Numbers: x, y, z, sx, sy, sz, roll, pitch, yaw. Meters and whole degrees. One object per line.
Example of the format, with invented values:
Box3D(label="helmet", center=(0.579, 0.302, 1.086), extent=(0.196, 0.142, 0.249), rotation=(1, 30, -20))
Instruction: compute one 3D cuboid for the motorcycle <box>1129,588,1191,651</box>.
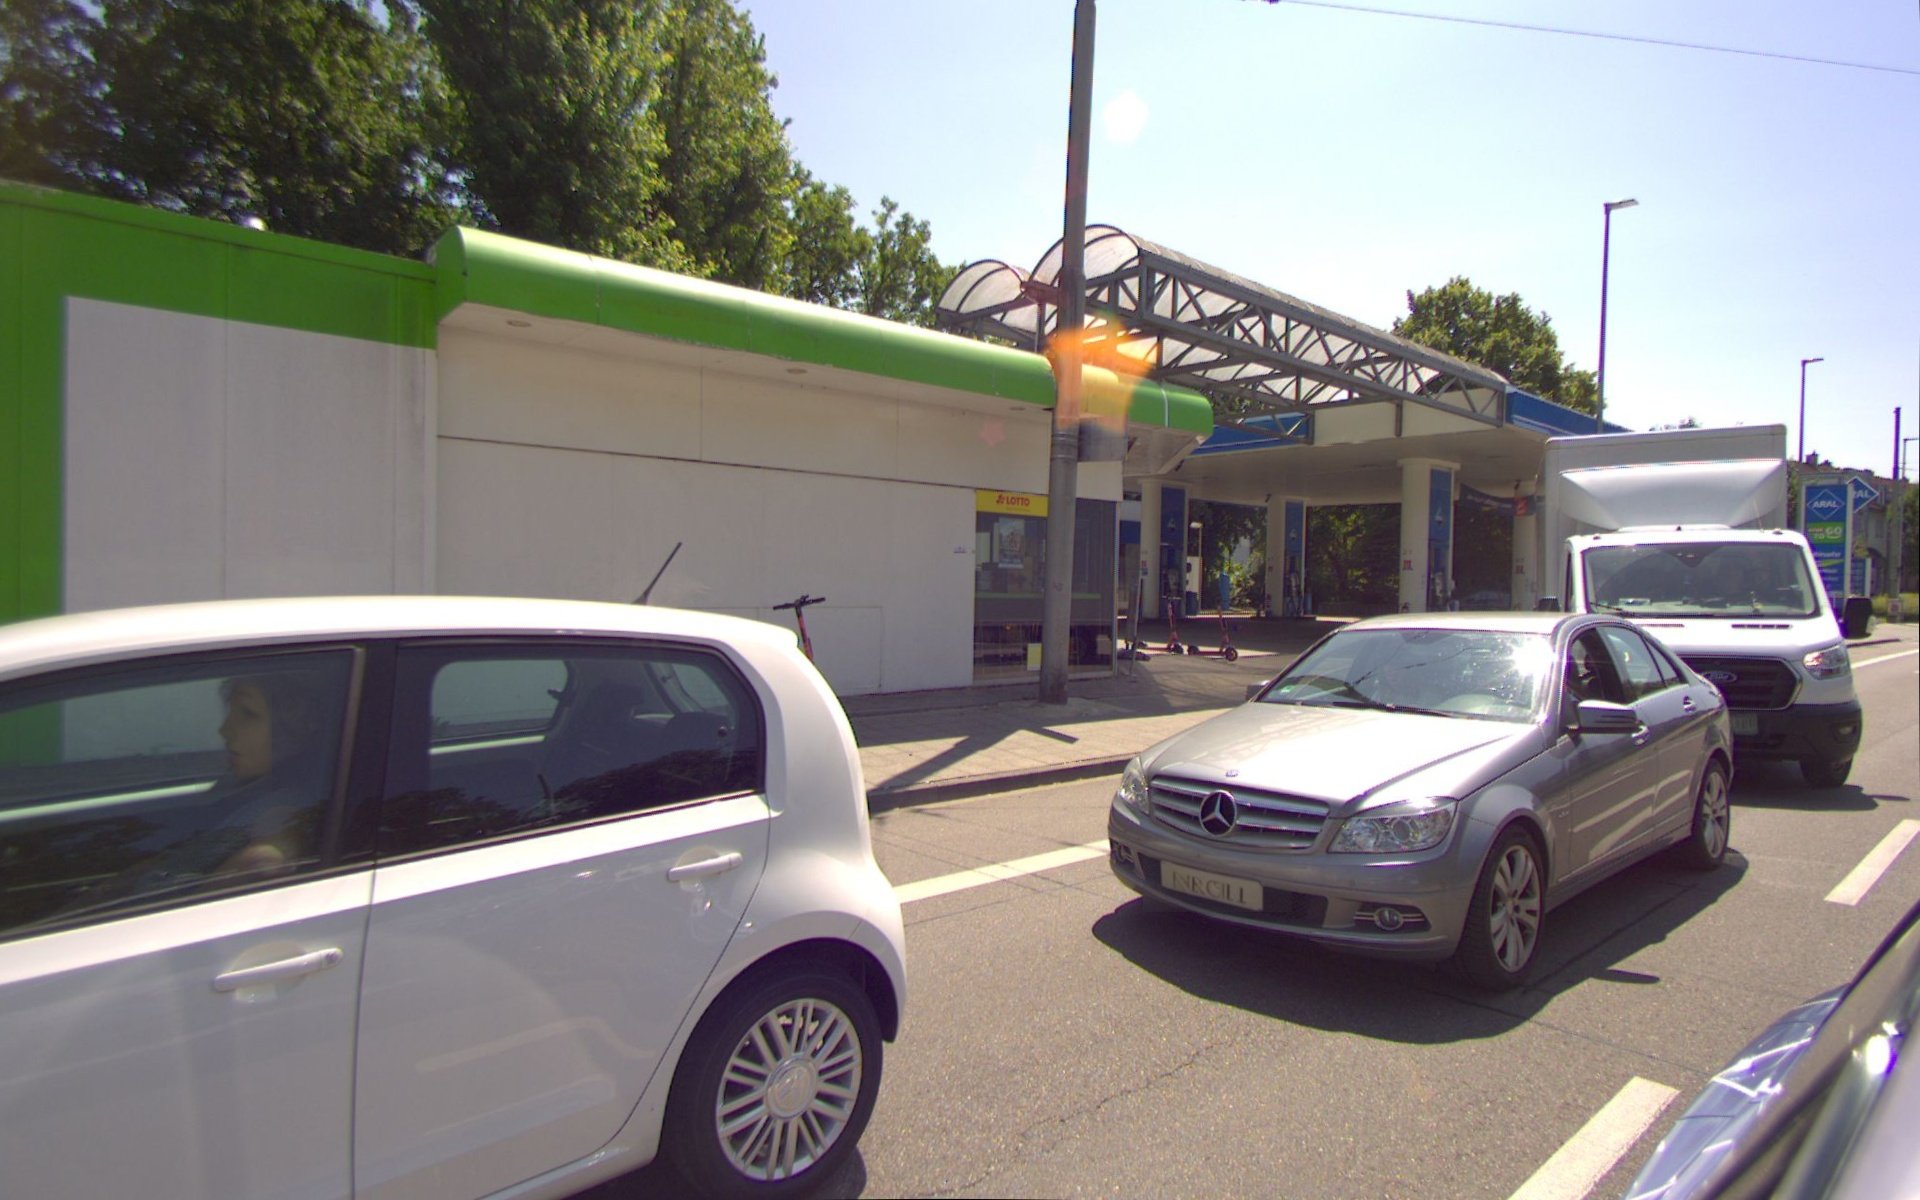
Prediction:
Box3D(label="motorcycle", center=(3.921, 0.370, 19.895), extent=(0.389, 1.127, 1.156), rotation=(2, 2, -41))

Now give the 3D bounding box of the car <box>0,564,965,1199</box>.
Box3D(label="car", center=(-1.788, 0.677, 2.273), extent=(3.374, 1.466, 1.612), rotation=(1, 0, -40))

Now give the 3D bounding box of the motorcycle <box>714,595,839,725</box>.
Box3D(label="motorcycle", center=(-1.676, 0.525, 9.311), extent=(1.098, 1.118, 0.253), rotation=(-1, 7, -40))

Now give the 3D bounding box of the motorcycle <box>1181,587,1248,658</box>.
Box3D(label="motorcycle", center=(4.755, 0.411, 18.942), extent=(0.357, 1.225, 1.156), rotation=(2, 2, -41))

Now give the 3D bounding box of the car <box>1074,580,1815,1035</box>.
Box3D(label="car", center=(3.069, 0.700, 5.659), extent=(5.206, 1.492, 1.716), rotation=(0, -1, -40))

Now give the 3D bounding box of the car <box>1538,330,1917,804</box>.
Box3D(label="car", center=(7.913, -0.255, 11.496), extent=(2.211, 3.378, 8.546), rotation=(-1, 0, 29))
